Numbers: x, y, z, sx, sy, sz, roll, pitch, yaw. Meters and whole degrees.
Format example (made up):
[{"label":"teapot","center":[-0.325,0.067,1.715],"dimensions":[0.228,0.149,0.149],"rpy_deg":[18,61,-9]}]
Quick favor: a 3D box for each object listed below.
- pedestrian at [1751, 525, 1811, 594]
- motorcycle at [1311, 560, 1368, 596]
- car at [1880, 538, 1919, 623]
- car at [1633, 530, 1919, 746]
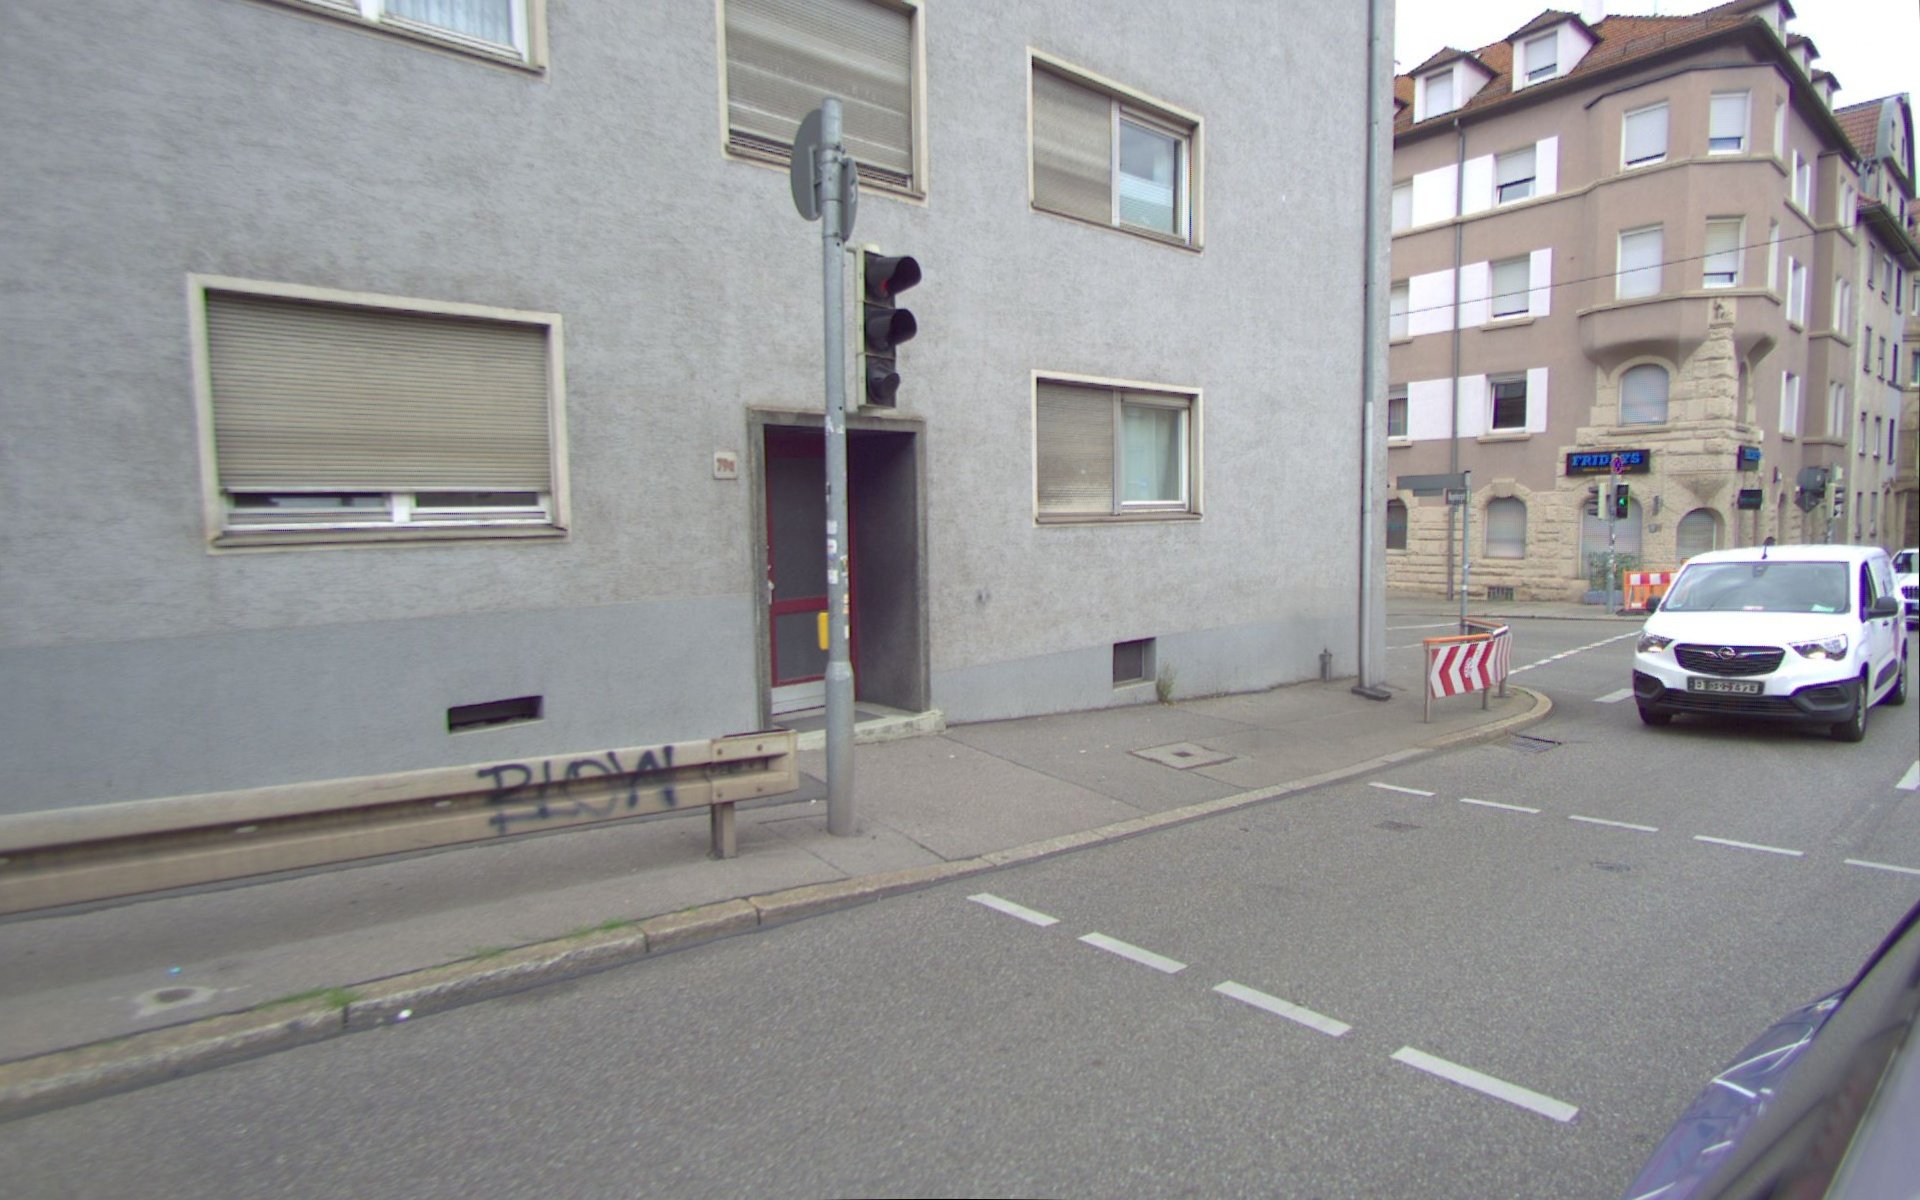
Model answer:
[{"label":"pedestrian","center":[20.239,-0.997,24.958],"dimensions":[0.984,1.668,0.737],"rpy_deg":[-1,2,-20]},{"label":"motorcycle","center":[12.320,-0.723,32.920],"dimensions":[0.506,1.095,1.682],"rpy_deg":[-6,5,-38]},{"label":"car","center":[19.984,-0.411,20.358],"dimensions":[4.092,1.628,1.778],"rpy_deg":[-2,1,-42]},{"label":"car","center":[9.052,0.204,10.959],"dimensions":[4.762,1.811,1.787],"rpy_deg":[-4,4,-41]}]
